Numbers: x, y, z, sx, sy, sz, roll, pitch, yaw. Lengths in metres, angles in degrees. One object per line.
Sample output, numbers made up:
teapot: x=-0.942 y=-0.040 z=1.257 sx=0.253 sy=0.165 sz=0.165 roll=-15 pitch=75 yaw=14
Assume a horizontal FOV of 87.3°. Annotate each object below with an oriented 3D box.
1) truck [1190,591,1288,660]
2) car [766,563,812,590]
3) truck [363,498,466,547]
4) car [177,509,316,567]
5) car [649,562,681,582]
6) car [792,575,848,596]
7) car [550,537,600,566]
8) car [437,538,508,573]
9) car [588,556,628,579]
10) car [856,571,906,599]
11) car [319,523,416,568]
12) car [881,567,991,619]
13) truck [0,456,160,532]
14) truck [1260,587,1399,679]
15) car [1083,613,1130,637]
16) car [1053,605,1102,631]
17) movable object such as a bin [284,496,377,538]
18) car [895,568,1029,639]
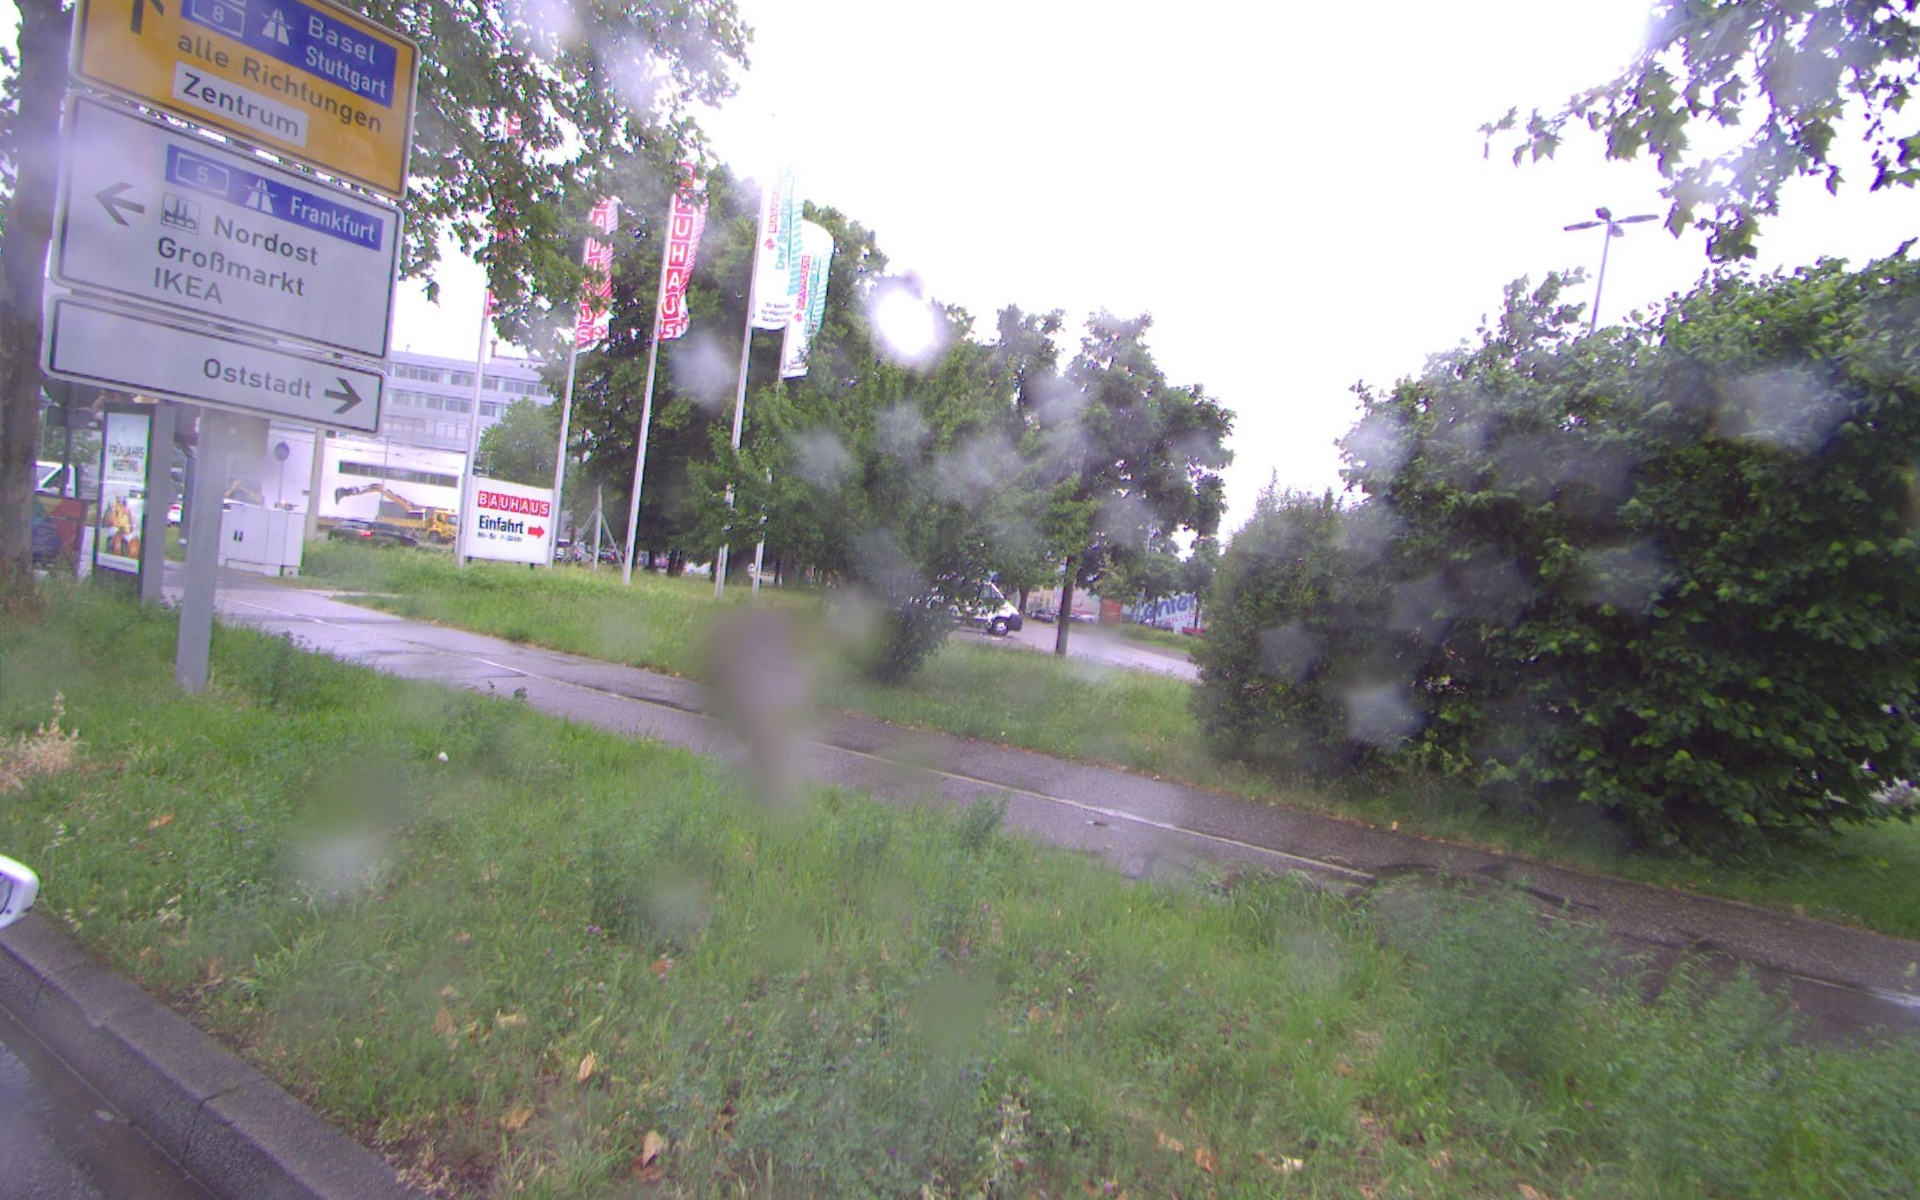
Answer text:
truck: x=16.510 y=1.437 z=60.287 sx=2.507 sy=3.511 sz=9.397 roll=8 pitch=0 yaw=-2
car: x=-17.327 y=-2.382 z=101.831 sx=4.218 sy=2.075 sz=1.759 roll=8 pitch=1 yaw=-14
truck: x=-52.677 y=-7.444 z=97.337 sx=7.747 sy=3.552 sz=3.325 roll=7 pitch=1 yaw=-4
car: x=-26.131 y=-2.225 z=37.082 sx=1.892 sy=1.605 sz=4.623 roll=6 pitch=0 yaw=-3
car: x=-28.937 y=-2.703 z=98.839 sx=1.892 sy=1.606 sz=4.623 roll=6 pitch=0 yaw=-4
car: x=-15.420 y=-1.593 z=111.076 sx=5.853 sy=1.754 sz=2.276 roll=6 pitch=1 yaw=-3
car: x=-27.513 y=-3.435 z=72.072 sx=1.892 sy=1.606 sz=4.623 roll=6 pitch=0 yaw=-4
car: x=-27.907 y=-2.508 z=57.757 sx=1.892 sy=1.606 sz=4.623 roll=6 pitch=0 yaw=-4
car: x=-29.727 y=-2.723 z=85.090 sx=1.892 sy=1.606 sz=4.623 roll=6 pitch=0 yaw=-4
car: x=-7.859 y=-1.453 z=100.600 sx=4.670 sy=2.241 sz=1.964 roll=6 pitch=1 yaw=-2
car: x=-27.197 y=-2.465 z=46.347 sx=1.893 sy=1.606 sz=4.622 roll=6 pitch=0 yaw=-4
car: x=-1.389 y=-0.410 z=57.652 sx=5.955 sy=2.232 sz=2.190 roll=7 pitch=1 yaw=-2
truck: x=-37.931 y=-4.461 z=42.862 sx=2.438 sy=2.394 sz=6.861 roll=7 pitch=0 yaw=-4
truck: x=16.717 y=1.336 z=46.270 sx=2.508 sy=3.513 sz=8.008 roll=8 pitch=1 yaw=-4
car: x=15.577 y=2.667 z=107.373 sx=4.612 sy=2.038 sz=2.001 roll=7 pitch=0 yaw=3
car: x=11.892 y=1.839 z=101.778 sx=4.612 sy=2.038 sz=2.001 roll=7 pitch=0 yaw=3
movable object such as a bin: x=-60.592 y=-7.928 z=97.012 sx=6.601 sy=3.034 sz=3.324 roll=7 pitch=1 yaw=-4
car: x=0.029 y=0.145 z=40.927 sx=5.015 sy=2.232 sz=2.188 roll=7 pitch=1 yaw=-9
